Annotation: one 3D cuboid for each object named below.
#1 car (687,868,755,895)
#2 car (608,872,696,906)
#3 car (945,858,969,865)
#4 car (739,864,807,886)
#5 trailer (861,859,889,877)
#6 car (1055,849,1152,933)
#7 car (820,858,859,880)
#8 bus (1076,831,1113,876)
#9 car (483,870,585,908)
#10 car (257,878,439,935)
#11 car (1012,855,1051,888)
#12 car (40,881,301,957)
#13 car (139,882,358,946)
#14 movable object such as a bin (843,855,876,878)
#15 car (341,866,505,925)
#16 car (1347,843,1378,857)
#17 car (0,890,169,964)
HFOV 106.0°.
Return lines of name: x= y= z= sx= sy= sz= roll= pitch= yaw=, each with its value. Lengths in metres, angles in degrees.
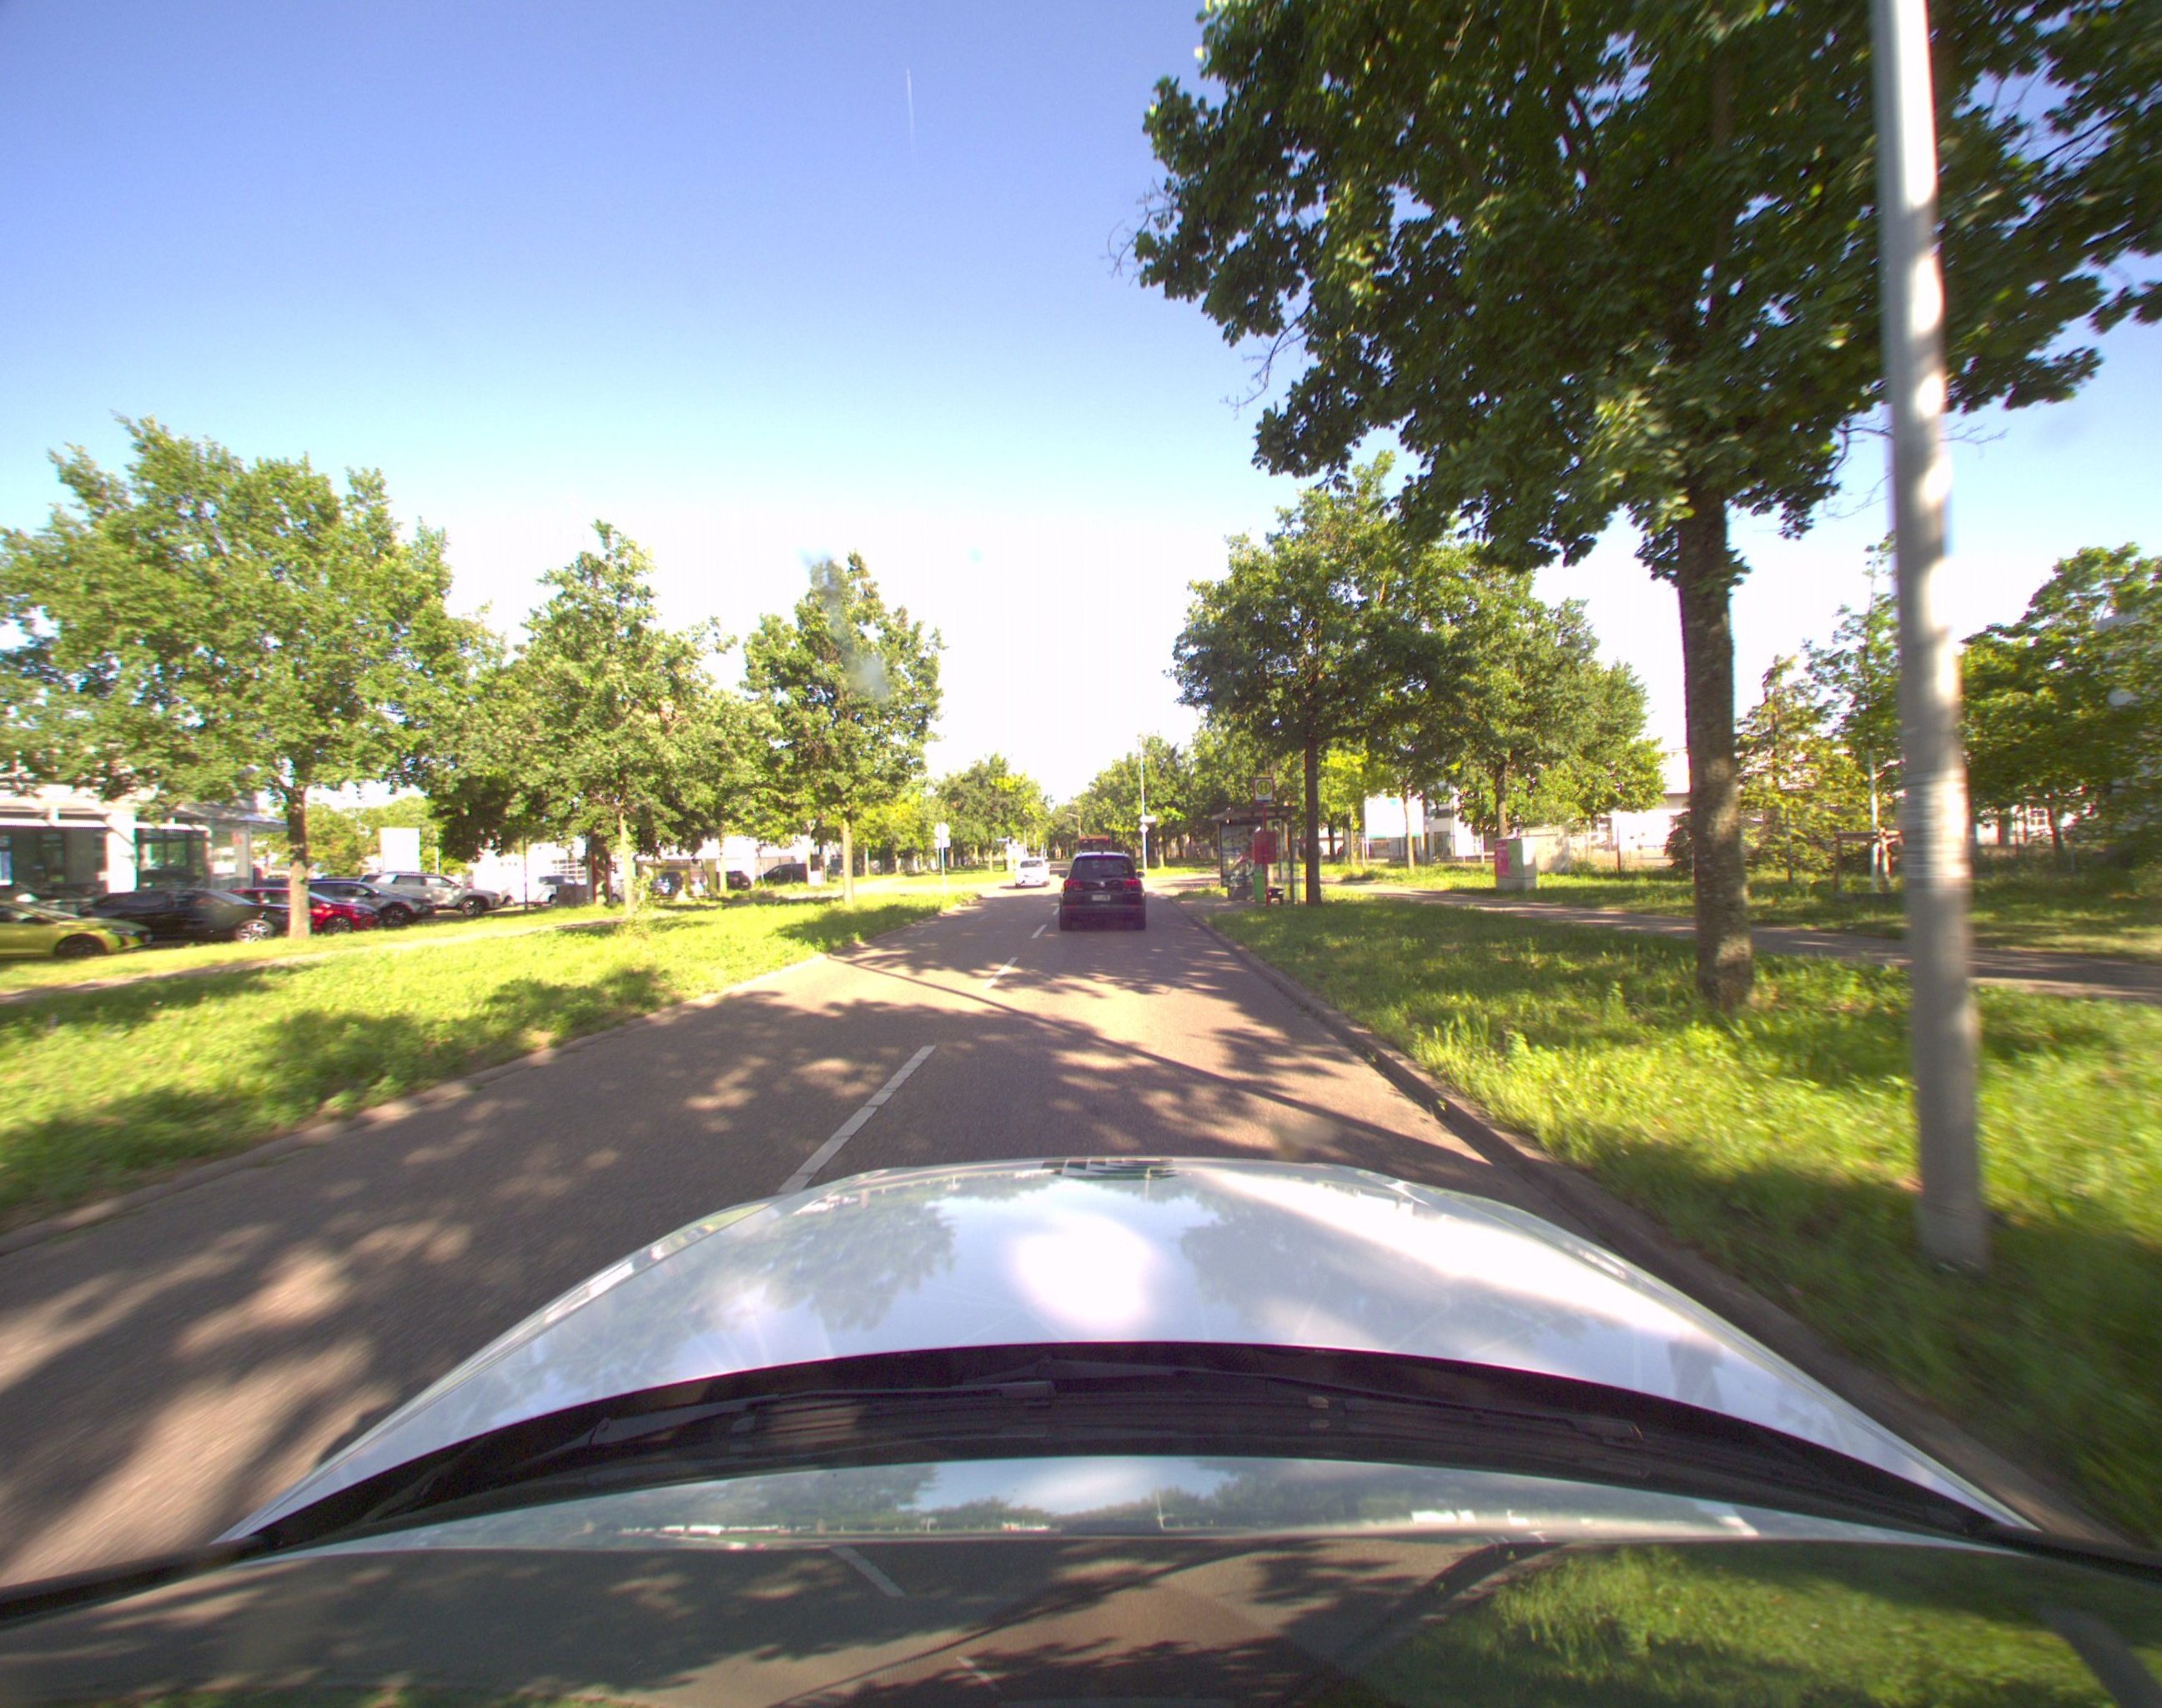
car: x=-23.555 y=1.798 z=53.303 sx=3.641 sy=1.532 sz=1.830 roll=-2 pitch=0 yaw=16
car: x=-22.863 y=1.841 z=43.473 sx=3.715 sy=1.618 sz=1.971 roll=-2 pitch=0 yaw=15
car: x=-24.281 y=1.484 z=159.871 sx=4.180 sy=1.321 sz=1.943 roll=-2 pitch=0 yaw=3
car: x=-23.639 y=1.620 z=62.652 sx=4.495 sy=1.479 sz=1.937 roll=-2 pitch=0 yaw=-6
trailer: x=-23.422 y=1.546 z=92.661 sx=2.095 sy=1.914 sz=3.740 roll=-2 pitch=0 yaw=0
car: x=0.528 y=0.738 z=18.609 sx=1.928 sy=1.656 sz=4.429 roll=-1 pitch=0 yaw=2
car: x=-23.446 y=1.389 z=79.198 sx=2.030 sy=1.988 sz=5.804 roll=-2 pitch=0 yaw=-1
bus: x=1.026 y=-0.019 z=70.107 sx=2.756 sy=3.456 sz=11.205 roll=-2 pitch=0 yaw=-1
car: x=-30.296 y=1.938 z=45.097 sx=4.970 sy=1.906 sz=1.950 roll=-2 pitch=0 yaw=18
car: x=-24.444 y=1.703 z=27.401 sx=4.183 sy=1.562 sz=1.981 roll=-2 pitch=0 yaw=-30
car: x=-2.487 y=0.854 z=41.746 sx=1.739 sy=1.465 sz=4.425 roll=-3 pitch=0 yaw=-1
car: x=-23.088 y=1.579 z=20.942 sx=4.191 sy=1.538 sz=1.874 roll=-2 pitch=0 yaw=-40
car: x=-24.167 y=1.684 z=23.902 sx=4.189 sy=1.491 sz=1.977 roll=-2 pitch=0 yaw=-37
movable object such as a bin: x=-23.244 y=1.262 z=85.530 sx=2.095 sy=2.217 sz=4.460 roll=-2 pitch=0 yaw=0
car: x=-25.984 y=1.577 z=32.354 sx=4.884 sy=2.013 sz=1.976 roll=-2 pitch=0 yaw=-40
car: x=30.132 y=-0.439 z=87.209 sx=1.761 sy=1.383 sz=3.763 roll=-2 pitch=0 yaw=-3
car: x=-23.161 y=1.618 z=17.819 sx=3.974 sy=1.401 sz=1.977 roll=-2 pitch=0 yaw=-40
